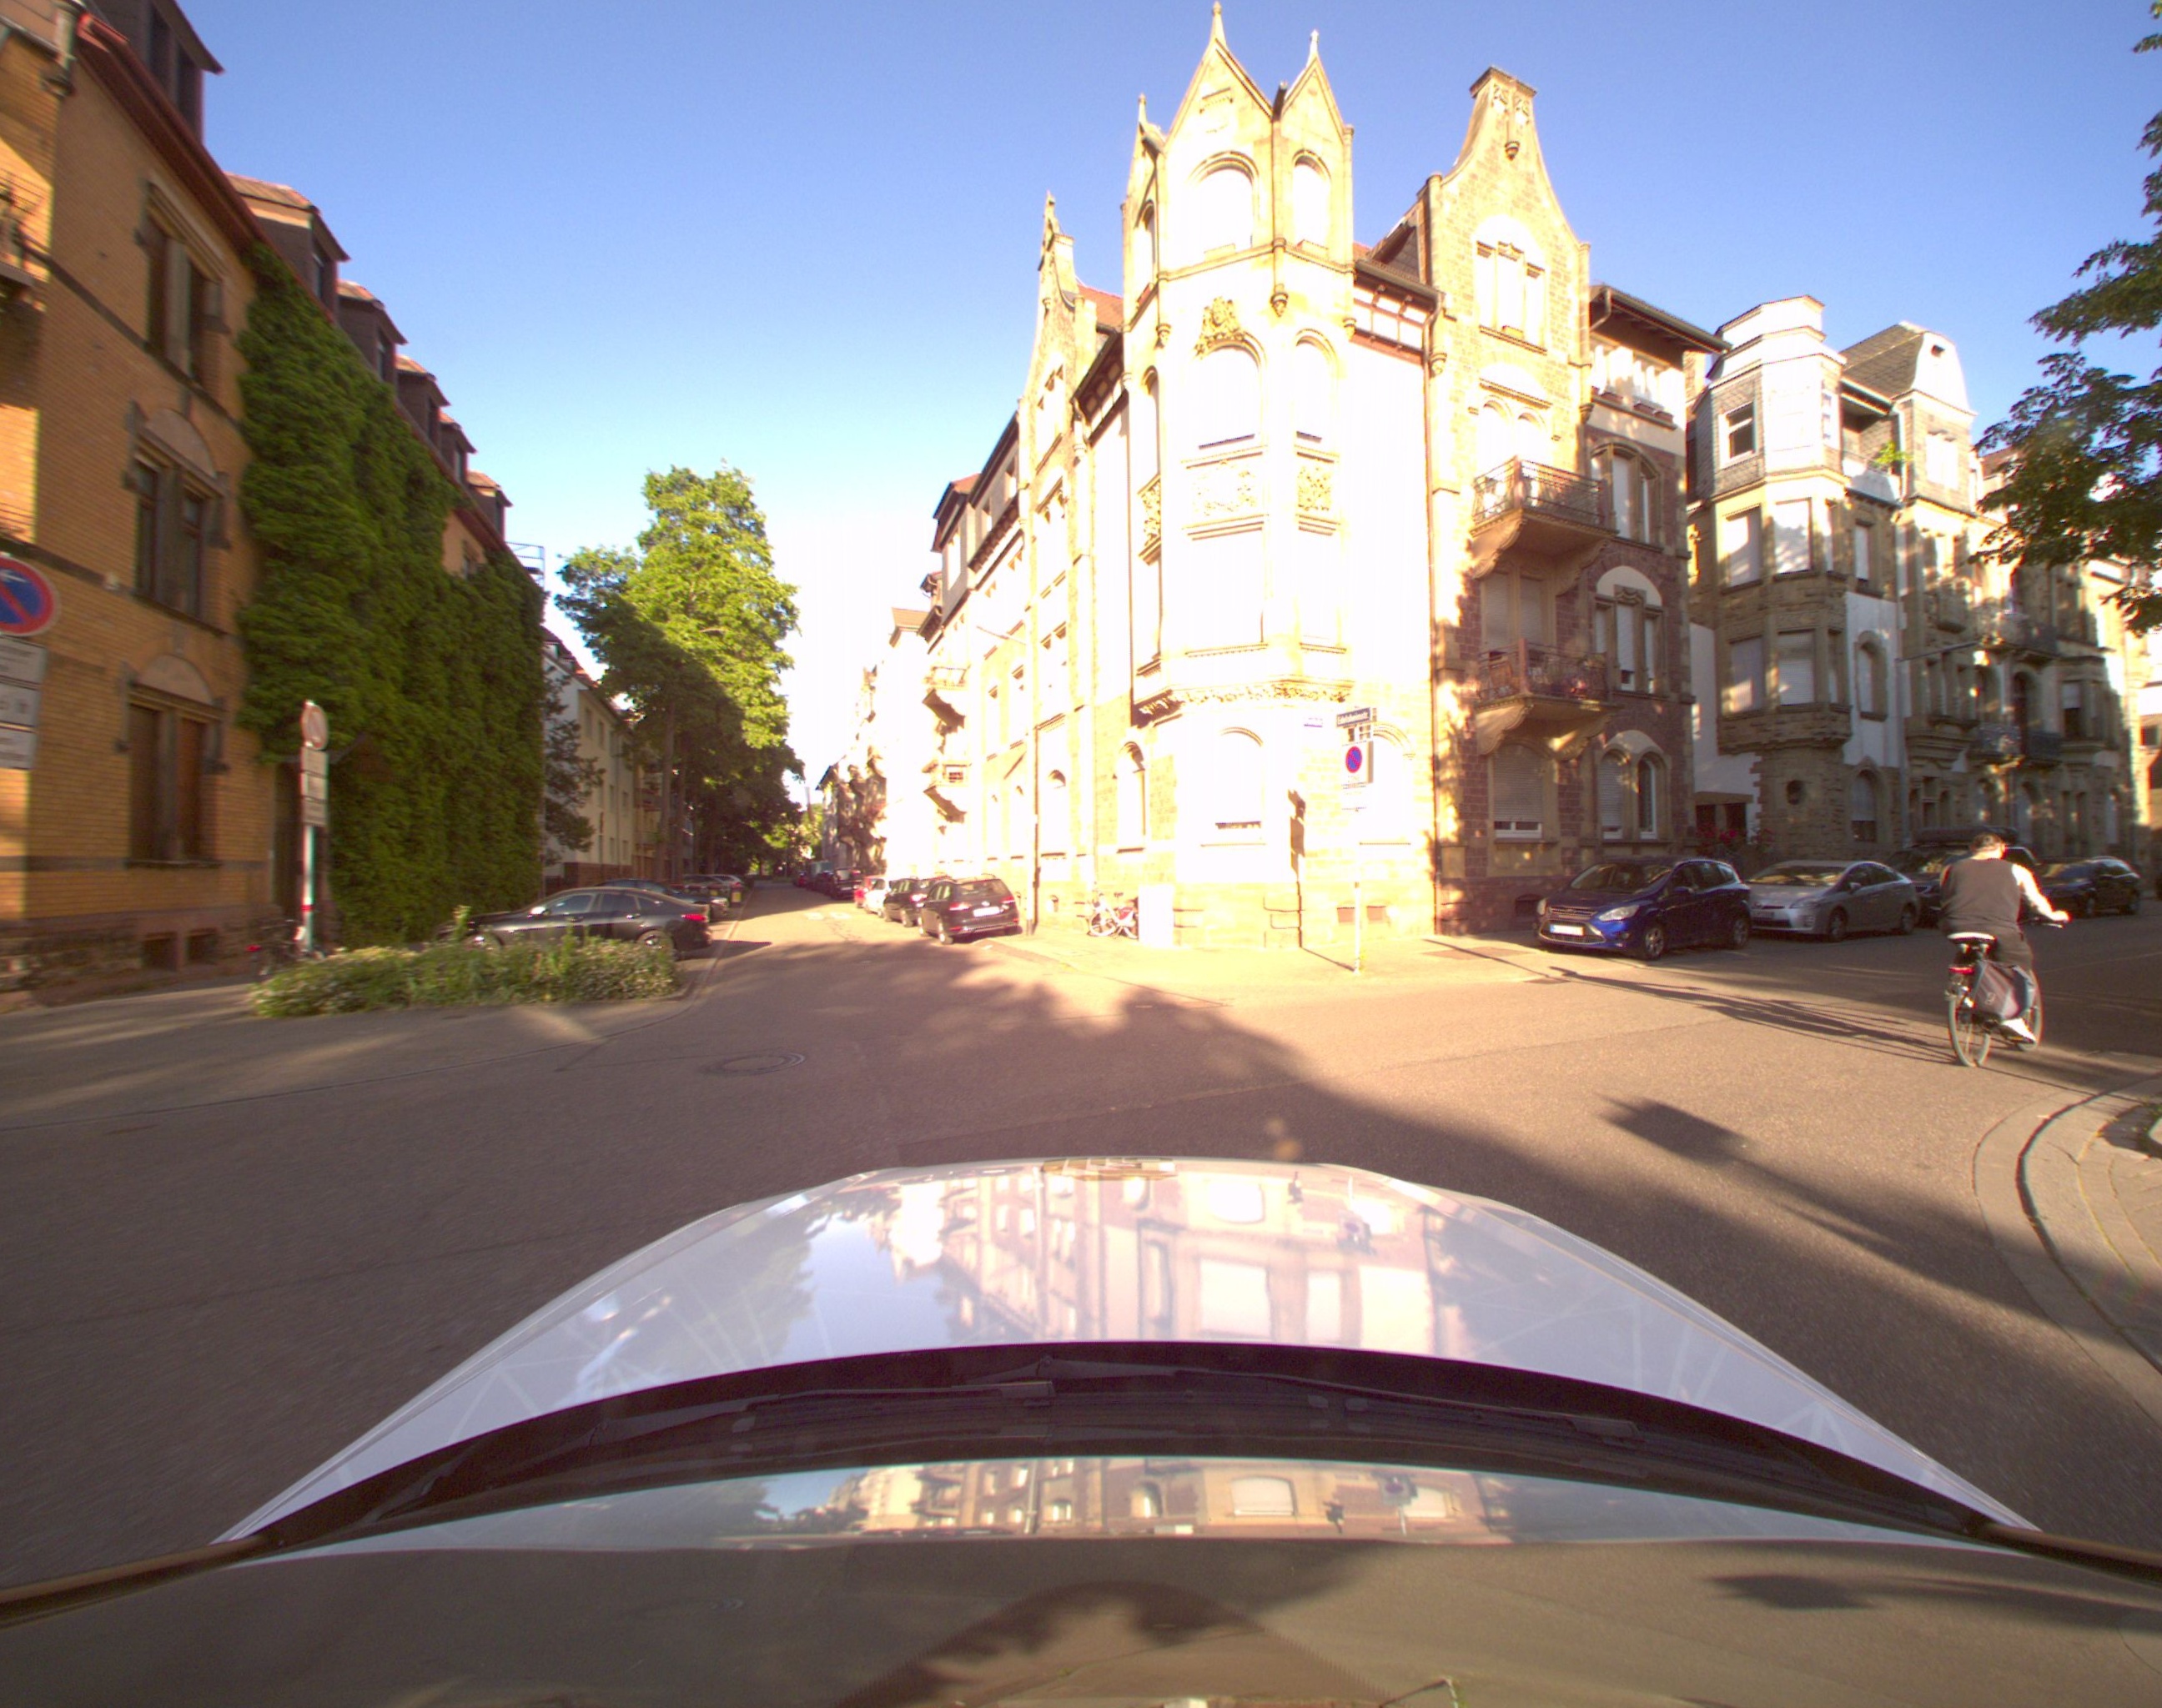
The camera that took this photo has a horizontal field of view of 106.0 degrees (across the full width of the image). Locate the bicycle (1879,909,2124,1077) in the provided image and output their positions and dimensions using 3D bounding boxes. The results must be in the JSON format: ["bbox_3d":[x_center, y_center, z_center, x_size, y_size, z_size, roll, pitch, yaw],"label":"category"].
[{"bbox_3d":[7.074,0.989,6.247,1.972,1.073,0.692,1,-2,-25],"label":"bicycle"}]

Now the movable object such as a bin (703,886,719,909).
[{"bbox_3d":[-17.011,1.985,37.453,0.633,1.053,0.563,1,-2,-28],"label":"movable object such as a bin"}]

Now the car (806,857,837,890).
[{"bbox_3d":[-22.147,1.664,69.470,2.174,2.691,4.755,1,-2,-22],"label":"car"}]

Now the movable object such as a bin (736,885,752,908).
[{"bbox_3d":[-15.747,1.972,38.102,0.633,1.053,0.563,1,-2,-28],"label":"movable object such as a bin"}]

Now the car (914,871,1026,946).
[{"bbox_3d":[-2.744,1.220,19.422,1.744,1.581,3.971,1,-2,-22],"label":"car"}]

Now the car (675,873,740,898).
[{"bbox_3d":[-24.638,2.053,53.783,3.818,1.575,1.696,1,-2,-24],"label":"car"}]

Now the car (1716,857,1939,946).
[{"bbox_3d":[14.630,0.829,15.921,4.464,1.499,1.720,-1,0,-26],"label":"car"}]

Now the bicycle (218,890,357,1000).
[{"bbox_3d":[-10.307,1.127,10.647,0.564,1.268,1.595,-1,-1,-14],"label":"bicycle"}]

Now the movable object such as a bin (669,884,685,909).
[{"bbox_3d":[-18.261,1.915,36.834,0.637,1.126,0.482,1,-2,-28],"label":"movable object such as a bin"}]

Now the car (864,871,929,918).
[{"bbox_3d":[-6.867,1.444,30.020,1.744,1.581,3.971,1,-2,-22],"label":"car"}]

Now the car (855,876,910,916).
[{"bbox_3d":[-8.404,1.702,34.250,1.744,1.581,3.971,1,-2,-22],"label":"car"}]

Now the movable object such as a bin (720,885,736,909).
[{"bbox_3d":[-16.393,1.992,37.809,0.633,1.053,0.563,1,-2,-28],"label":"movable object such as a bin"}]

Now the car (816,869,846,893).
[{"bbox_3d":[-18.424,1.977,59.942,1.810,1.679,3.971,1,-2,-22],"label":"car"}]

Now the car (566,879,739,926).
[{"bbox_3d":[-13.871,1.533,26.716,4.856,1.435,1.696,1,-2,-24],"label":"car"}]

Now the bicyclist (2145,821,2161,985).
[{"bbox_3d":[10.627,0.452,7.543,0.973,1.527,0.715,1,-2,-25],"label":"bicyclist"}]

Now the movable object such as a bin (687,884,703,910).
[{"bbox_3d":[-17.624,1.957,37.198,0.601,1.153,0.482,1,-2,-28],"label":"movable object such as a bin"}]

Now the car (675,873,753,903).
[{"bbox_3d":[-20.199,1.865,44.891,3.820,1.575,1.696,1,-2,-26],"label":"car"}]

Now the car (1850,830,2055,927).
[{"bbox_3d":[19.769,0.489,18.455,4.506,1.974,1.958,-1,0,-26],"label":"car"}]

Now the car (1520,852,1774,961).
[{"bbox_3d":[9.655,0.812,13.859,4.267,1.622,1.720,1,-1,-26],"label":"car"}]

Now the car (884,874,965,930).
[{"bbox_3d":[-4.902,1.415,25.099,1.744,1.581,3.971,1,-2,-22],"label":"car"}]

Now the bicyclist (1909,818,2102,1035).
[{"bbox_3d":[7.085,0.520,6.256,0.973,1.527,0.702,1,-2,-25],"label":"bicyclist"}]

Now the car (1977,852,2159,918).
[{"bbox_3d":[25.606,0.796,21.121,4.713,1.574,1.722,1,-2,-23],"label":"car"}]

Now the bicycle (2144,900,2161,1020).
[{"bbox_3d":[10.719,0.966,7.590,1.972,1.073,0.552,1,-2,-25],"label":"bicycle"}]

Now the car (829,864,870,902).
[{"bbox_3d":[-13.123,1.616,45.983,1.810,2.004,3.971,1,-2,-22],"label":"car"}]

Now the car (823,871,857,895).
[{"bbox_3d":[-15.891,1.896,53.536,1.810,1.515,3.971,1,-2,-22],"label":"car"}]

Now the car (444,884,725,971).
[{"bbox_3d":[-9.106,1.294,15.432,4.262,1.435,1.984,1,-2,-24],"label":"car"}]

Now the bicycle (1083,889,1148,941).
[{"bbox_3d":[0.689,1.221,16.733,0.518,0.998,1.559,1,-2,-33],"label":"bicycle"}]

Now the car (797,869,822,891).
[{"bbox_3d":[-28.438,2.705,85.182,2.174,2.237,4.755,1,-2,-22],"label":"car"}]

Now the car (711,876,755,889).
[{"bbox_3d":[-33.405,2.705,78.284,3.818,1.240,1.696,1,-2,-24],"label":"car"}]

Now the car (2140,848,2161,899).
[{"bbox_3d":[36.411,0.627,26.185,4.403,1.622,2.039,1,-2,-26],"label":"car"}]
